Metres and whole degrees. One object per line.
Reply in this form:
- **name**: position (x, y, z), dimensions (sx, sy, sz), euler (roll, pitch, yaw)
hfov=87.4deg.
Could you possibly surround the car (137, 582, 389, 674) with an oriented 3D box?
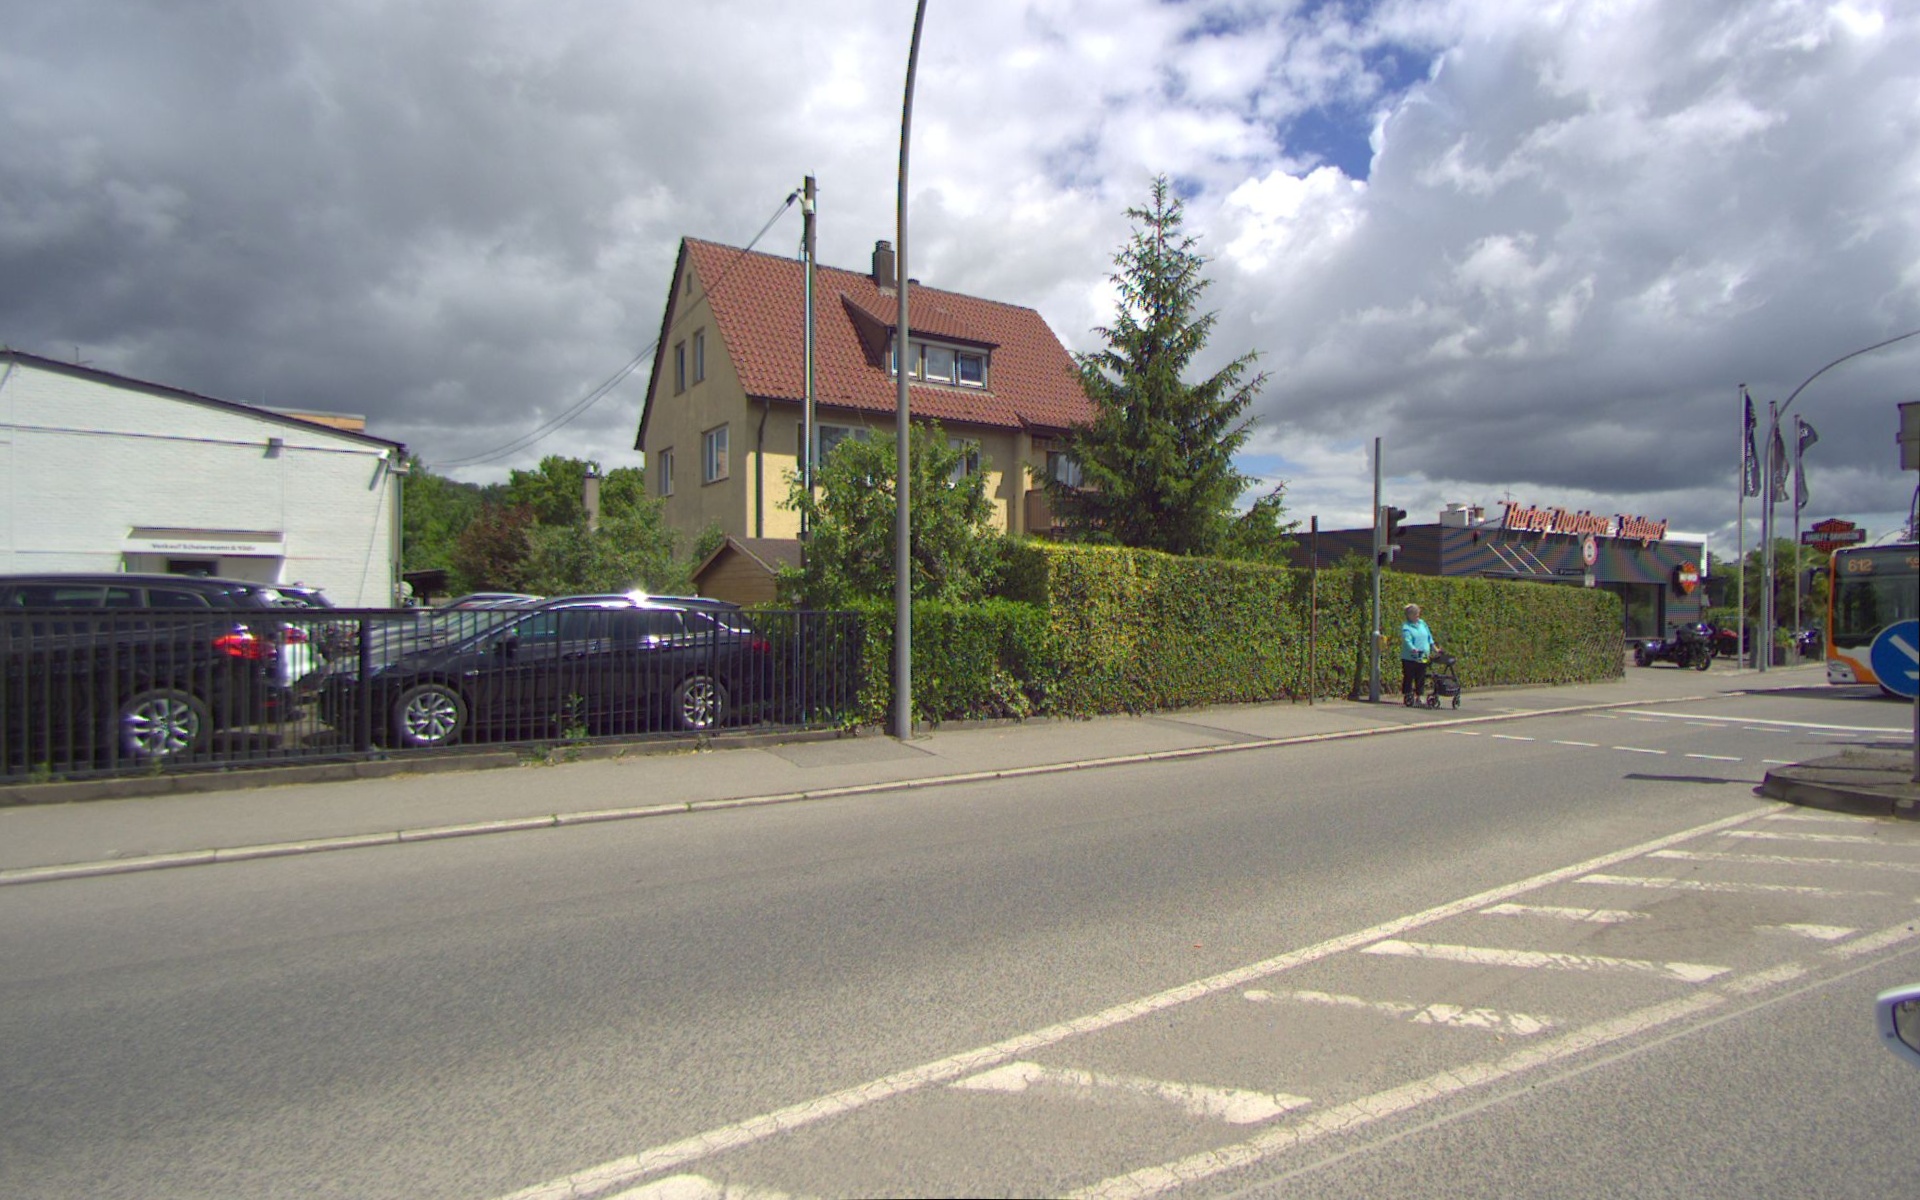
- **car**: position (-13.713, 0.544, 19.935), dimensions (3.963, 1.639, 1.763), euler (1, -1, -38)

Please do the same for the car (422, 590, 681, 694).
- **car**: position (-7.154, 0.698, 17.697), dimensions (3.959, 1.639, 1.765), euler (1, -1, -35)

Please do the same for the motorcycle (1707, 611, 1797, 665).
- **motorcycle**: position (26.891, 1.263, 34.169), dimensions (1.023, 1.705, 2.306), euler (1, 0, -9)

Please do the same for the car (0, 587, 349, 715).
- **car**: position (-11.379, 0.690, 14.755), dimensions (3.963, 1.639, 1.763), euler (1, -1, -38)

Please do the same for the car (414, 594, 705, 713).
- **car**: position (-6.202, 0.782, 15.715), dimensions (3.959, 1.639, 1.765), euler (1, -1, -35)

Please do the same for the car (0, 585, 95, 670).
- **car**: position (-21.274, 0.564, 20.732), dimensions (4.957, 1.735, 2.035), euler (1, -1, -35)

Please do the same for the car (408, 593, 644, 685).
- **car**: position (-8.472, 0.728, 19.736), dimensions (3.963, 1.639, 1.763), euler (1, -1, -38)

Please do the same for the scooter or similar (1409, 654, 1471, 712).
- **scooter or similar**: position (7.415, 1.272, 15.517), dimensions (0.652, 0.842, 0.608), euler (1, -1, -32)

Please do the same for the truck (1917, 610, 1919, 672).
- **truck**: position (34.133, 0.283, 33.080), dimensions (9.069, 4.186, 2.410), euler (1, 1, -38)

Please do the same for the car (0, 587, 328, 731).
- **car**: position (-10.499, 0.698, 12.840), dimensions (3.963, 1.639, 1.763), euler (1, -1, -38)

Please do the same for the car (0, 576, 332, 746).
- **car**: position (-9.240, 0.612, 10.910), dimensions (3.963, 1.639, 1.763), euler (1, -1, -38)

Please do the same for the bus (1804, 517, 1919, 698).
- **bus**: position (22.699, 0.265, 21.609), dimensions (11.972, 3.309, 2.766), euler (1, -2, -28)

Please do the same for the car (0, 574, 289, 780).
- **car**: position (-8.308, 0.613, 8.600), dimensions (4.241, 1.616, 2.018), euler (1, -1, -35)

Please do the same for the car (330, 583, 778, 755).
- **car**: position (-4.396, 0.653, 11.058), dimensions (4.225, 1.527, 2.139), euler (1, -1, -35)

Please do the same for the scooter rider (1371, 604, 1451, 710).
- **scooter rider**: position (7.168, 0.880, 15.971), dimensions (0.787, 1.611, 0.873), euler (1, 0, -32)

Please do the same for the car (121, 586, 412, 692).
- **car**: position (-11.870, 0.640, 17.389), dimensions (3.963, 1.639, 1.763), euler (1, -1, -38)

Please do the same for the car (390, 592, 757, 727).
- **car**: position (-5.112, 0.703, 13.439), dimensions (4.225, 1.527, 2.139), euler (1, -1, -35)

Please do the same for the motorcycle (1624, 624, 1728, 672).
- **motorcycle**: position (20.279, 1.330, 28.541), dimensions (0.910, 1.234, 2.504), euler (1, 0, -9)

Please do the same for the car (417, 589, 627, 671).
- **car**: position (-9.635, 0.643, 22.203), dimensions (3.963, 1.639, 1.763), euler (1, -1, -38)
